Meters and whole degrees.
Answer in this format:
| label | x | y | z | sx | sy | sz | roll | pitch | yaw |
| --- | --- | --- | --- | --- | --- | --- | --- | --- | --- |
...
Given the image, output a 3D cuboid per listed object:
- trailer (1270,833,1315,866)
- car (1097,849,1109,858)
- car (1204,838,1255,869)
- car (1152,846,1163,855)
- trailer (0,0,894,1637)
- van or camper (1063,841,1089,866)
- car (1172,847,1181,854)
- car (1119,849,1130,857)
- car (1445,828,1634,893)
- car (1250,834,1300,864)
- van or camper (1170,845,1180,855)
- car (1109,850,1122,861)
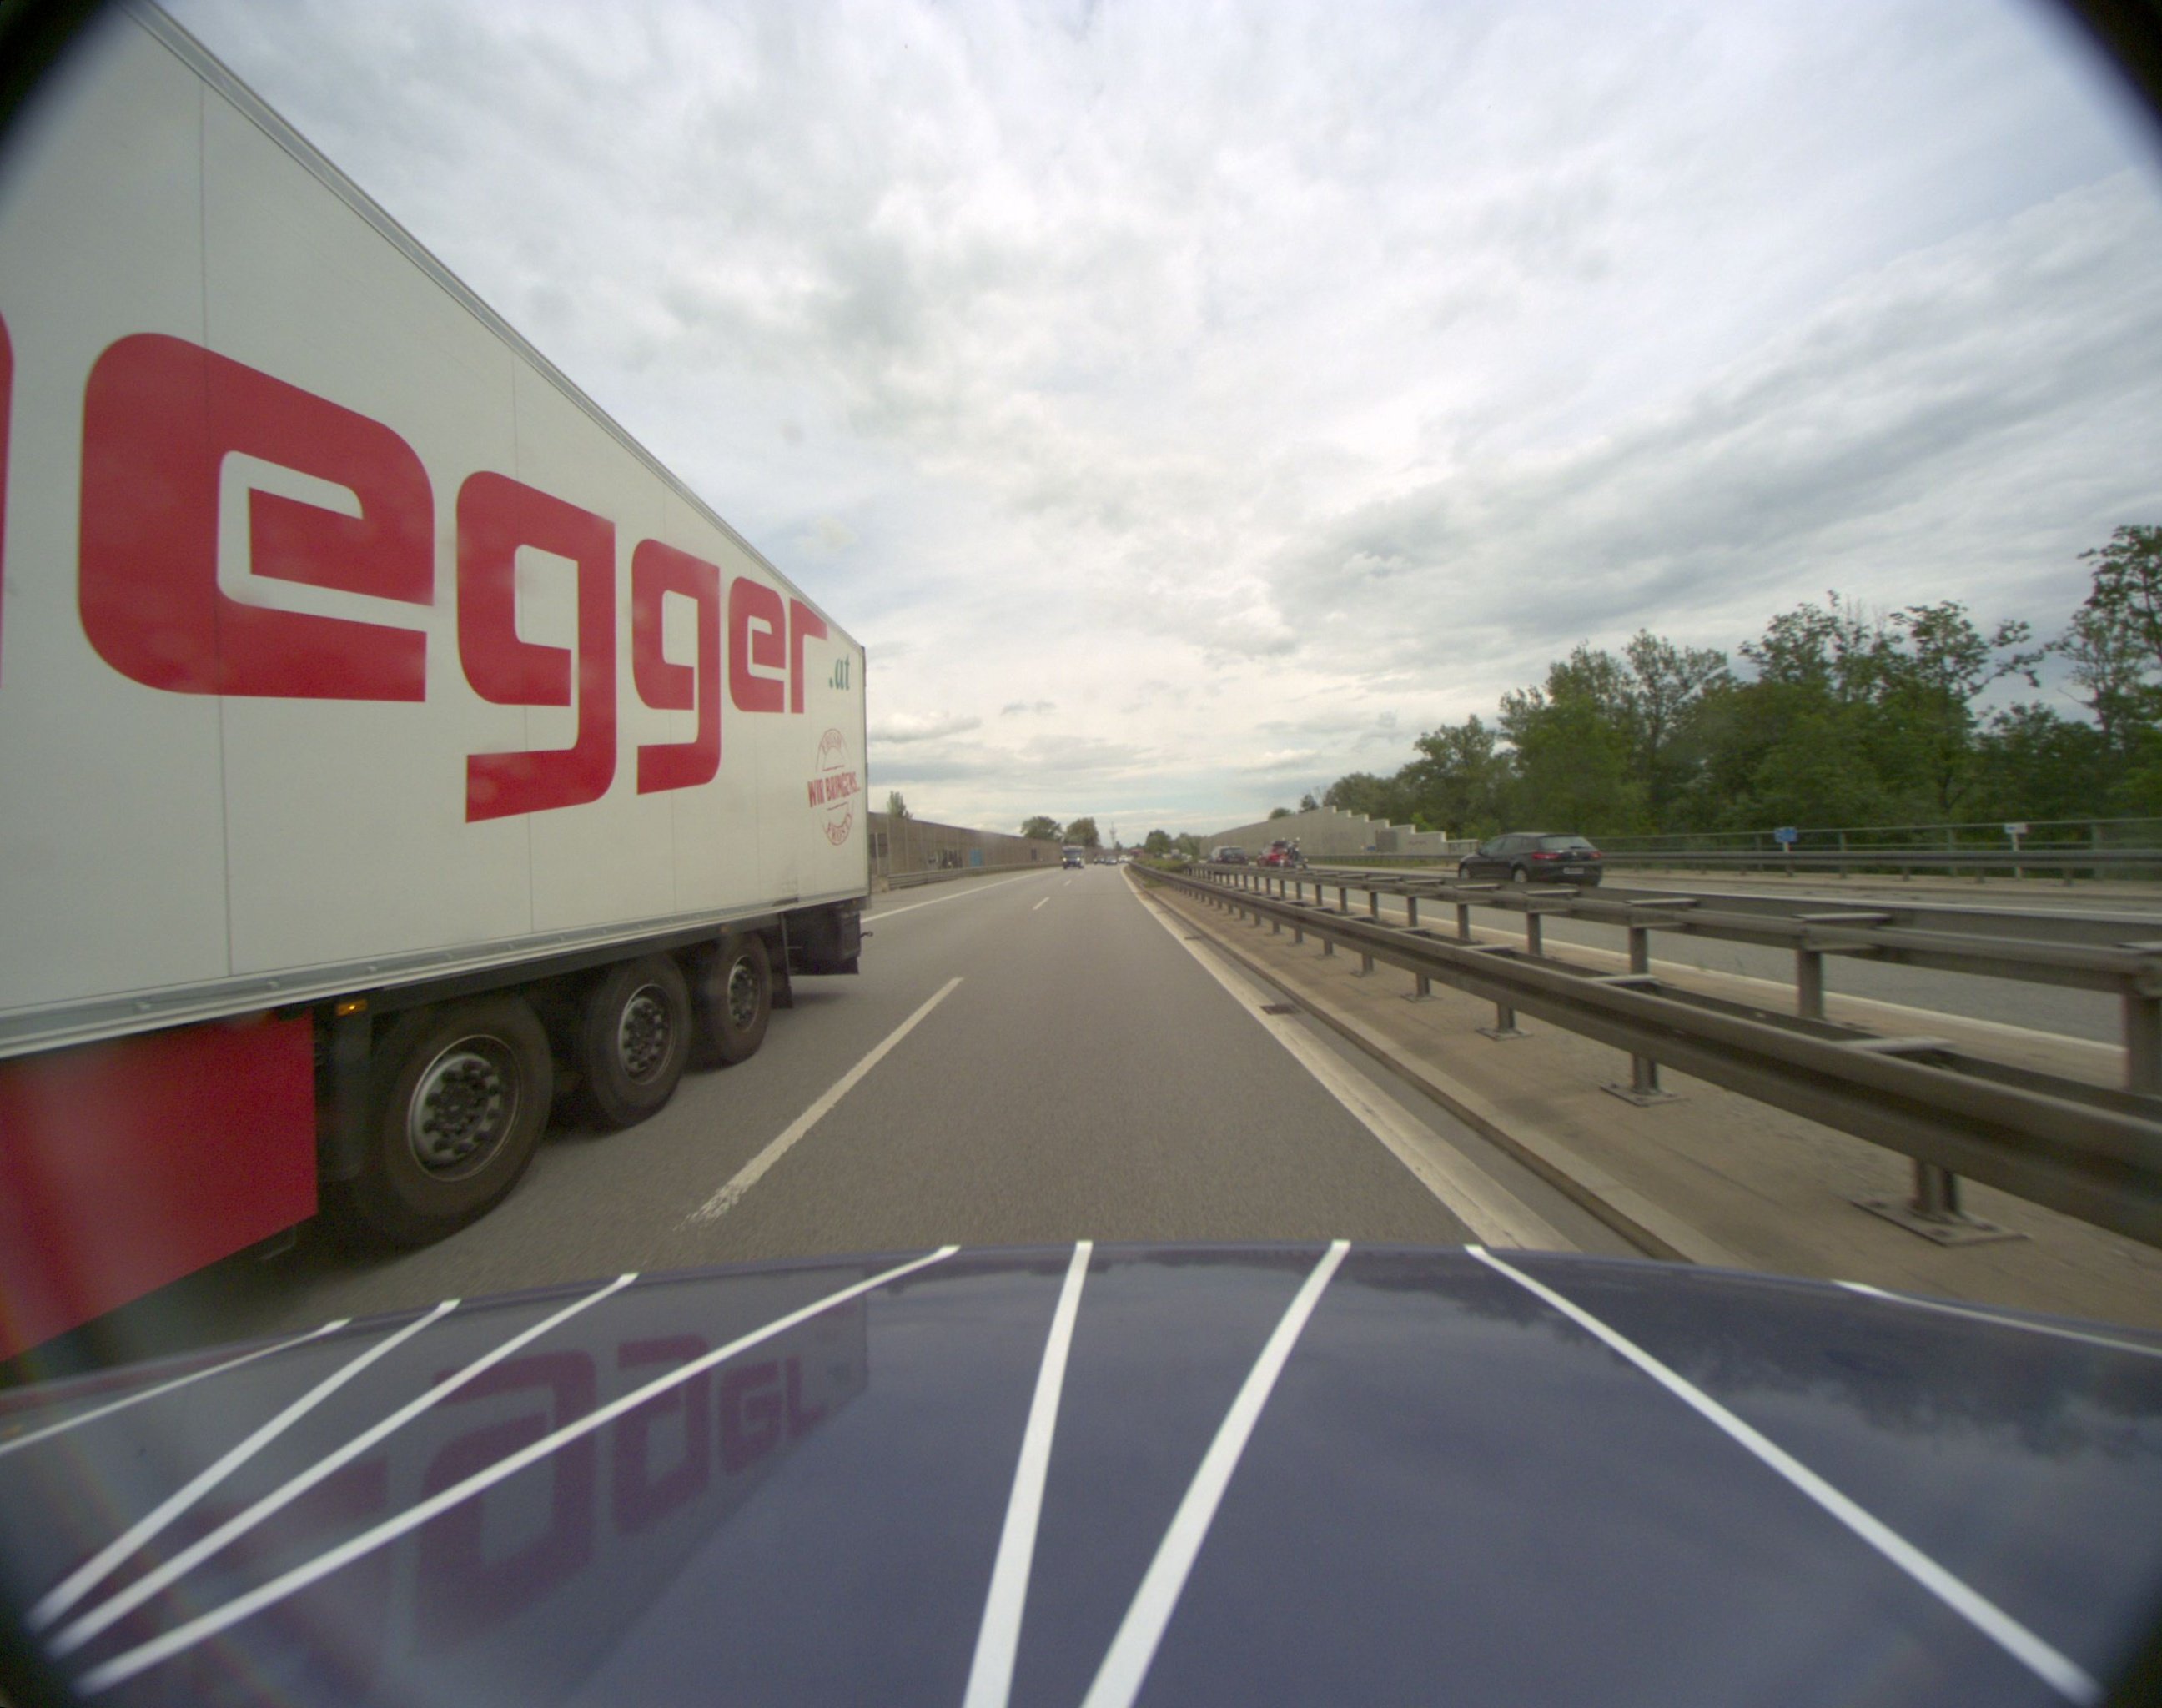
| label | x | y | z | sx | sy | sz | roll | pitch | yaw |
| --- | --- | --- | --- | --- | --- | --- | --- | --- | --- |
| trailer | 12.163 | -0.268 | 43.940 | 1.652 | 1.738 | 3.376 | -3 | 0 | 1 |
| car | 4.116 | -0.079 | 140.930 | 1.889 | 1.608 | 4.002 | -1 | 0 | 5 |
| car | 7.867 | -0.054 | 40.579 | 1.845 | 1.522 | 4.835 | -1 | 0 | 1 |
| car | 16.647 | -0.810 | 165.909 | 1.998 | 1.875 | 4.556 | -2 | 0 | 3 |
| trailer | -3.793 | -0.342 | 2.152 | 2.799 | 4.150 | 14.102 | -2 | 0 | 0 |
| van or camper | -0.498 | -0.025 | 90.248 | 2.434 | 2.680 | 7.228 | -2 | -1 | 4 |
| car | 21.332 | -0.844 | 169.474 | 1.815 | 1.538 | 4.518 | -2 | 0 | 6 |
| car | 8.987 | -0.282 | 156.607 | 1.888 | 1.608 | 4.002 | -1 | 0 | 6 |
| car | 11.212 | 0.133 | 19.069 | 1.975 | 1.395 | 4.710 | -1 | 0 | 1 |
| car | 12.219 | -0.317 | 48.136 | 1.975 | 1.751 | 4.945 | -2 | 0 | 1 |
| van or camper | 25.078 | -1.035 | 203.162 | 2.259 | 2.763 | 5.757 | -2 | 0 | 4 |
| car | 5.463 | 0.277 | 121.395 | 1.889 | 1.608 | 4.002 | -1 | 0 | 5 |
